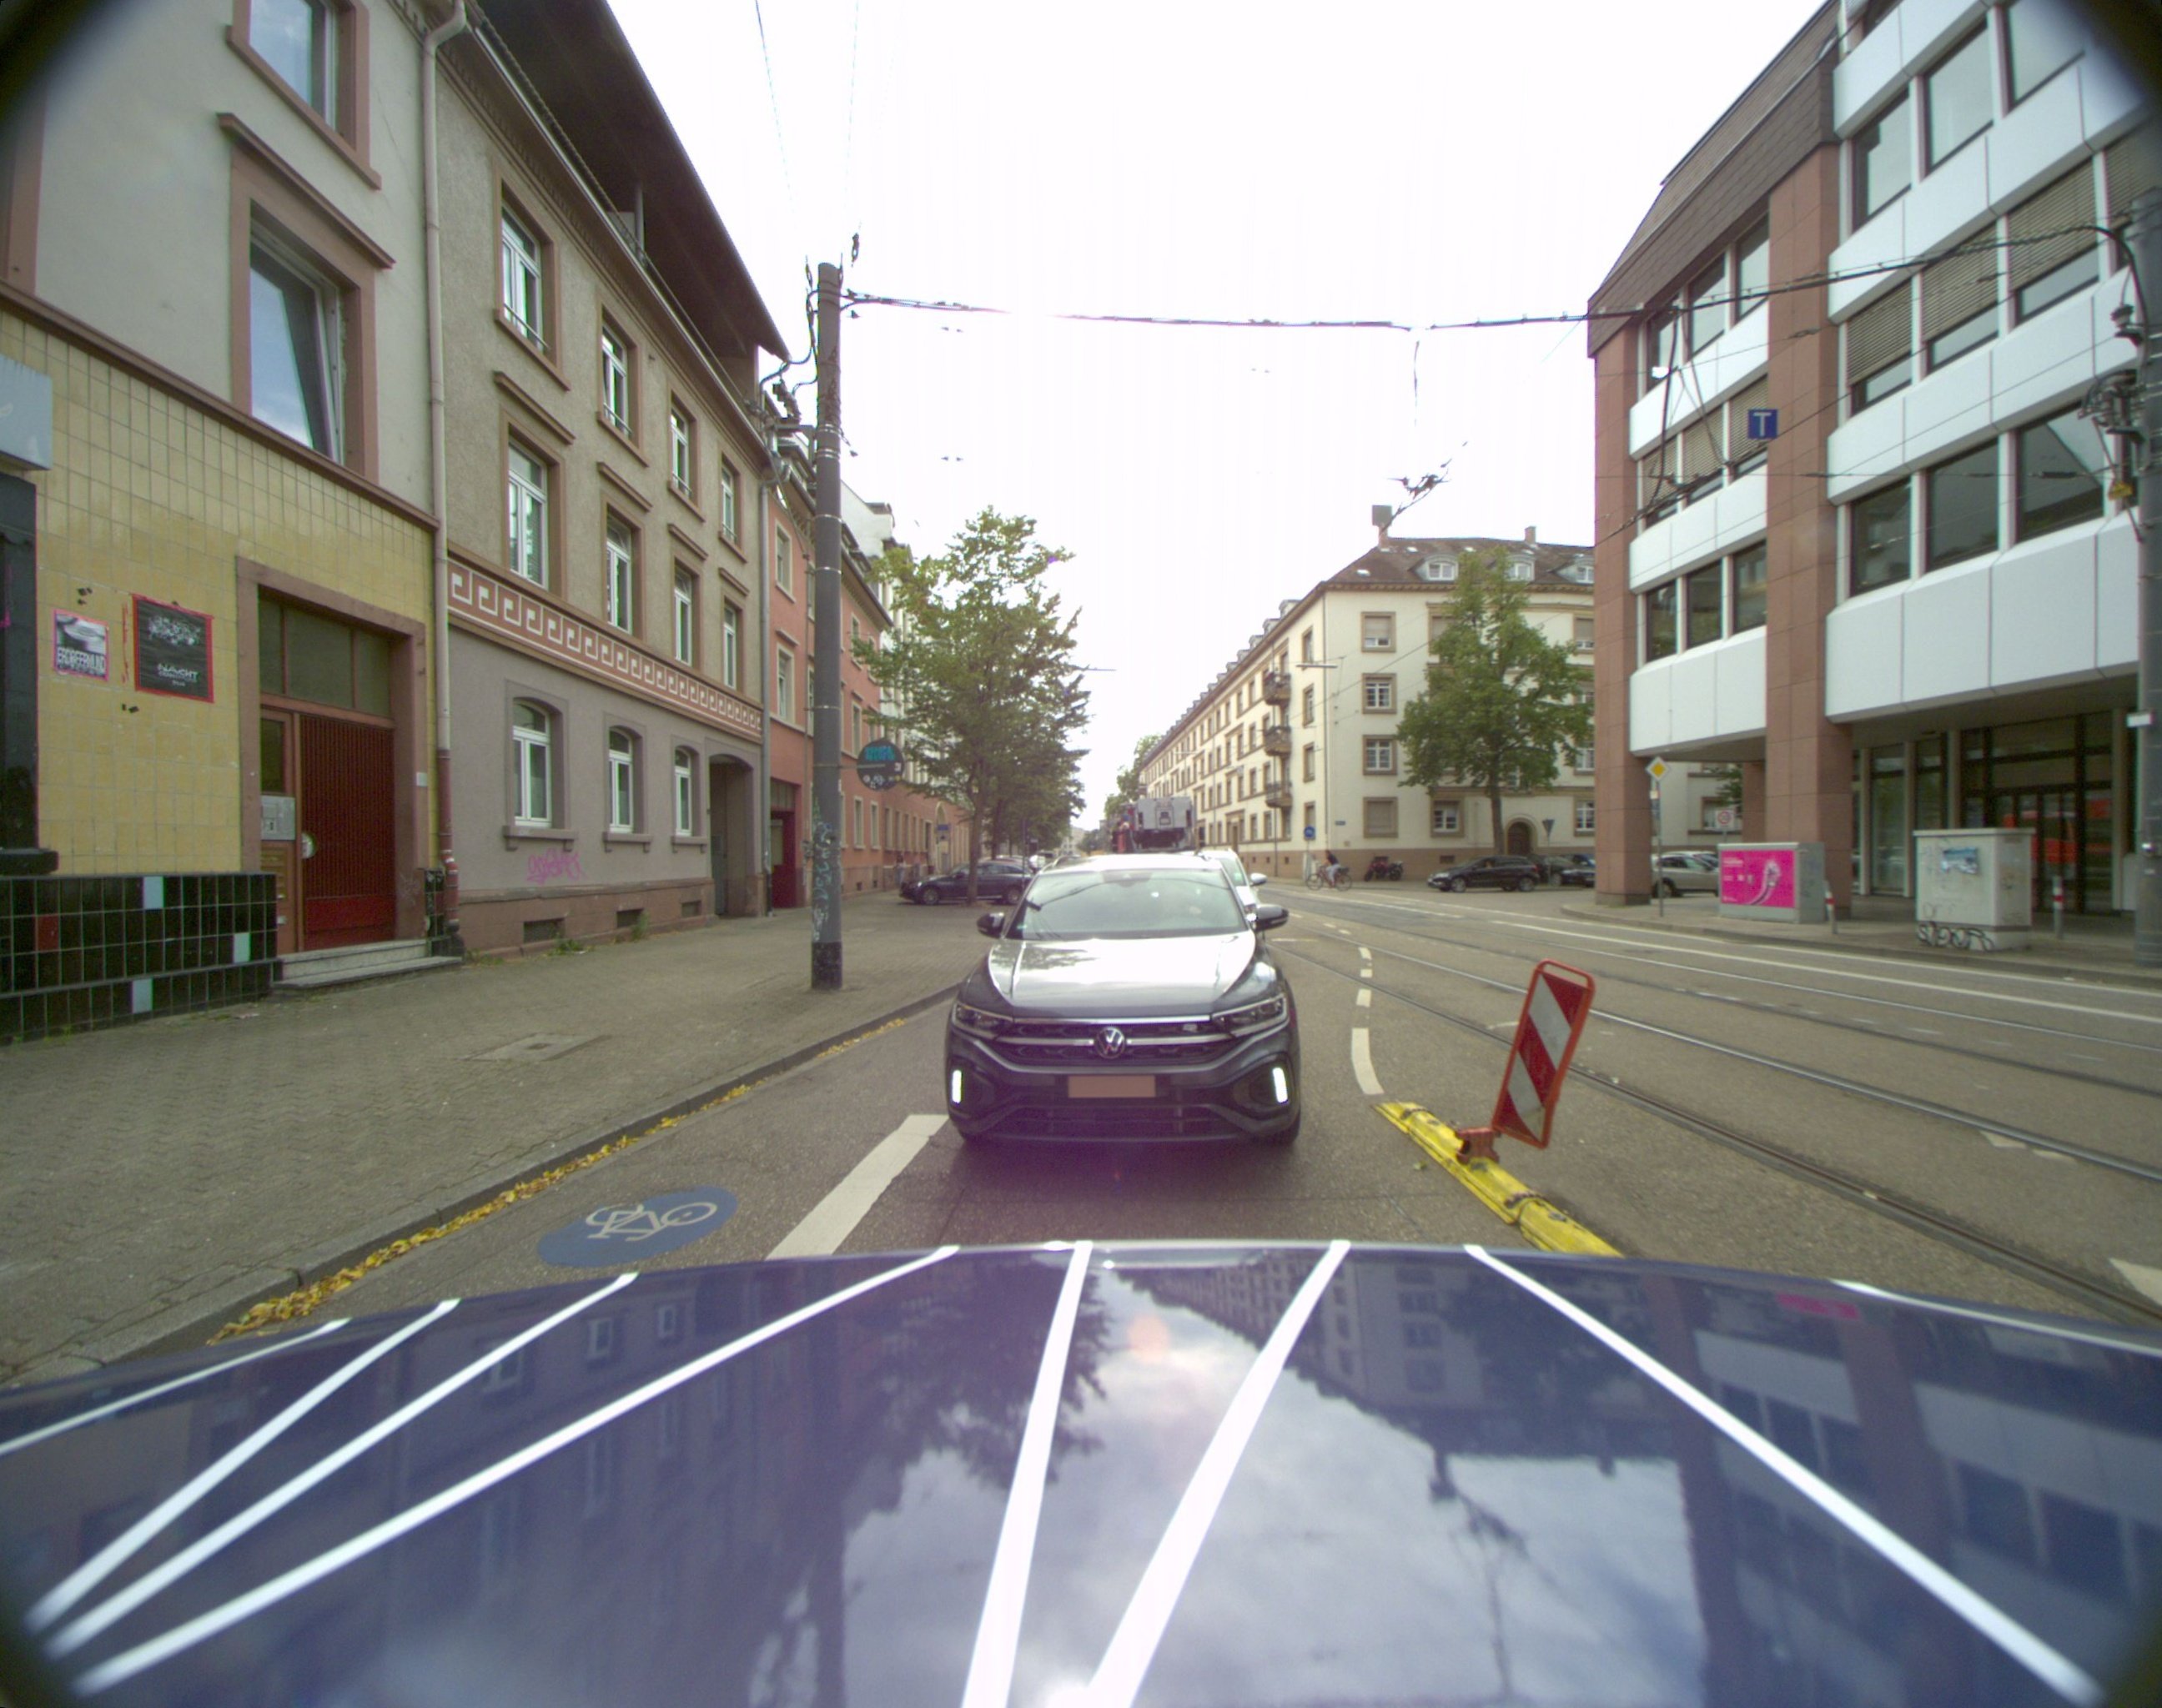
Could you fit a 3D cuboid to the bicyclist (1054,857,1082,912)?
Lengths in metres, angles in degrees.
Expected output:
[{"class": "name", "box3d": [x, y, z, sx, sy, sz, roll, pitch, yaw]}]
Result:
[{"class": "bicyclist", "box3d": [-0.379, 0.863, 21.928, 0.716, 1.498, 0.918, -3, 0, -3]}]

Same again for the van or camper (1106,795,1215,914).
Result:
[{"class": "van or camper", "box3d": [2.462, 0.020, 26.852, 2.607, 3.401, 9.651, -1, 0, -1]}]

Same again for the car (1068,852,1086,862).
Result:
[{"class": "car", "box3d": [-0.727, 0.559, 142.575, 1.897, 1.806, 4.006, 0, 0, 20]}]

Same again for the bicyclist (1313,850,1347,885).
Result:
[{"class": "bicyclist", "box3d": [10.271, 0.556, 31.308, 1.257, 1.453, 0.678, -1, 0, 23]}]

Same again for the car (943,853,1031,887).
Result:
[{"class": "car", "box3d": [-4.937, 0.840, 39.923, 4.245, 1.688, 1.736, 1, 0, -24]}]

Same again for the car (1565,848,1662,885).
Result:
[{"class": "car", "box3d": [23.568, 0.520, 33.804, 1.611, 1.538, 3.715, -1, 0, -3]}]

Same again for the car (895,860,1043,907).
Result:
[{"class": "car", "box3d": [-3.780, 0.961, 25.713, 4.635, 1.464, 1.786, 1, 0, -24]}]

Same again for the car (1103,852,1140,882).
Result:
[{"class": "car", "box3d": [2.313, 0.719, 44.402, 1.998, 1.698, 4.053, -1, 0, 1]}]

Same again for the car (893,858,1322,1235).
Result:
[{"class": "car", "box3d": [0.264, 0.851, 5.371, 1.773, 1.538, 4.283, -2, 0, 5]}]

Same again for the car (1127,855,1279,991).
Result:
[{"class": "car", "box3d": [1.683, 0.850, 11.359, 1.772, 1.582, 4.284, -2, 0, 5]}]

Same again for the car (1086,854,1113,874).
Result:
[{"class": "car", "box3d": [1.401, 0.733, 59.531, 1.911, 1.478, 3.999, -1, 0, -2]}]

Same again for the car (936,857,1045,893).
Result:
[{"class": "car", "box3d": [-3.893, 0.910, 32.787, 4.351, 1.471, 1.786, 1, 0, -24]}]

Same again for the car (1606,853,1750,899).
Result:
[{"class": "car", "box3d": [19.190, 0.684, 24.464, 3.650, 1.380, 1.611, -1, 0, -9]}]

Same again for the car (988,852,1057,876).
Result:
[{"class": "car", "box3d": [-4.256, 0.758, 55.497, 4.635, 1.688, 1.913, 1, 0, -24]}]

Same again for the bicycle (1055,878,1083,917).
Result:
[{"class": "bicycle", "box3d": [-0.363, 1.231, 21.947, 0.714, 1.012, 1.800, -2, 0, -2]}]

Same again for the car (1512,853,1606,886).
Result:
[{"class": "car", "box3d": [21.168, 0.655, 33.840, 1.611, 1.388, 3.874, -1, 0, -3]}]

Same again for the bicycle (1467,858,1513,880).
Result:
[{"class": "bicycle", "box3d": [20.709, 0.753, 38.495, 1.924, 1.080, 0.793, -1, 0, -1]}]

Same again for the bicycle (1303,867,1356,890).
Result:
[{"class": "bicycle", "box3d": [10.245, 1.006, 31.318, 2.007, 0.959, 0.674, -1, -1, 23]}]

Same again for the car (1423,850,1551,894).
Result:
[{"class": "car", "box3d": [15.788, 0.696, 29.727, 4.043, 1.528, 1.776, -2, 0, 9]}]

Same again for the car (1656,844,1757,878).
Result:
[{"class": "car", "box3d": [28.494, 0.296, 34.749, 1.592, 1.453, 3.524, -1, 0, -3]}]

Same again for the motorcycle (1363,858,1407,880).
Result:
[{"class": "motorcycle", "box3d": [15.302, 0.766, 38.279, 1.924, 1.080, 0.793, -1, 0, -1]}]

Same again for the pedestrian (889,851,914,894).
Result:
[{"class": "pedestrian", "box3d": [-7.378, 0.754, 31.310, 0.732, 1.678, 0.926, 3, 0, -1]}]

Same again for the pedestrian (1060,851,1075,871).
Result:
[{"class": "pedestrian", "box3d": [-1.284, 0.636, 71.528, 1.016, 1.831, 1.003, 0, 1, 40]}]
